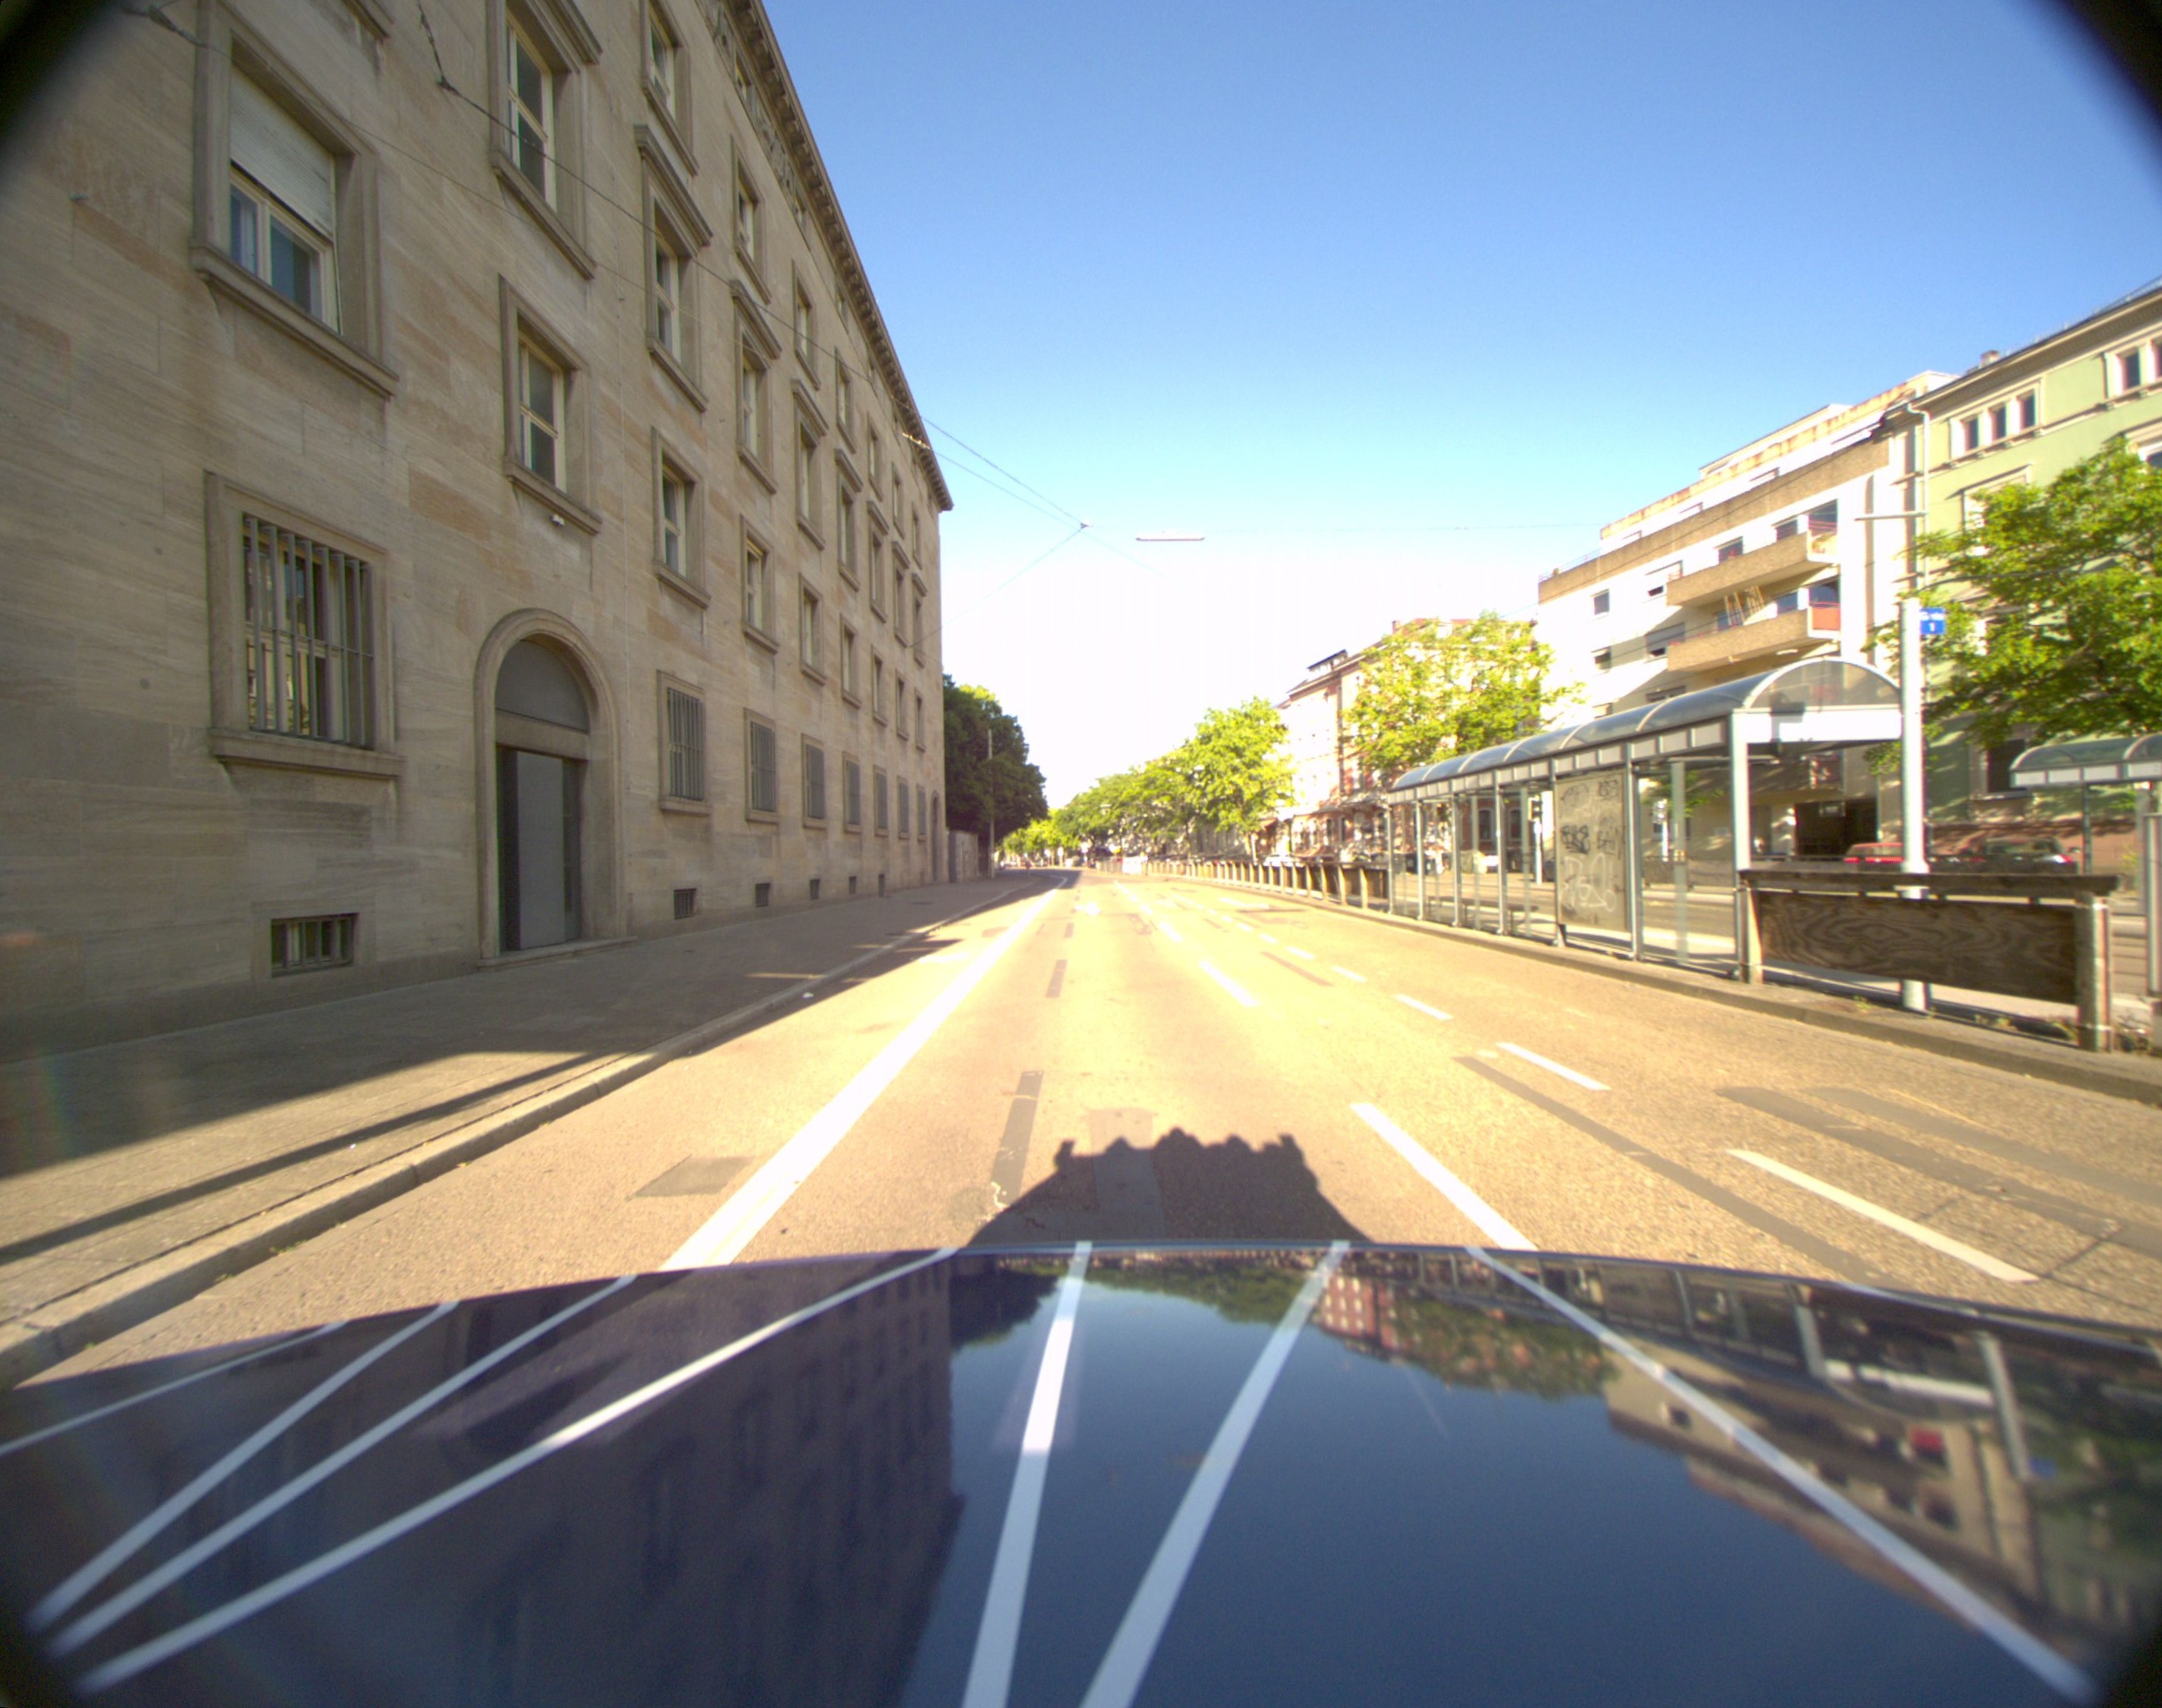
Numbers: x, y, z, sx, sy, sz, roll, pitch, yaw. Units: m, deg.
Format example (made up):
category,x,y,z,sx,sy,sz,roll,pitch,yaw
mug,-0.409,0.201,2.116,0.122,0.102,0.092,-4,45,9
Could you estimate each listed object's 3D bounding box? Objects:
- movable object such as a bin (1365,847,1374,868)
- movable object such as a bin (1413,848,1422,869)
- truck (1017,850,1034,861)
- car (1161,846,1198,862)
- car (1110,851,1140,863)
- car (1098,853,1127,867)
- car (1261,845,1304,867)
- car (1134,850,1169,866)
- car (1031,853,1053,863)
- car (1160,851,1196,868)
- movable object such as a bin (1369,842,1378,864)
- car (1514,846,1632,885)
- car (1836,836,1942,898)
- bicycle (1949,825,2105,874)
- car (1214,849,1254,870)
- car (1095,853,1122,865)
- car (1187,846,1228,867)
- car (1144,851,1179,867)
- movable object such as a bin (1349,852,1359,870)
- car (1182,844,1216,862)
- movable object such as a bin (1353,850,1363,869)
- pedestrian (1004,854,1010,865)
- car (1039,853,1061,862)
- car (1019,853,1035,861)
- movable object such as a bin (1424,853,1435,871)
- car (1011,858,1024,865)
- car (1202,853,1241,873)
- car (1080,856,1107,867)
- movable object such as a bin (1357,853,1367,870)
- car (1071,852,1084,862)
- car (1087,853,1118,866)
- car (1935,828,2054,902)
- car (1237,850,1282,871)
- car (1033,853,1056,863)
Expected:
category,x,y,z,sx,sy,sz,roll,pitch,yaw
movable object such as a bin,18.866,0.231,49.715,0.380,1.418,0.387,-1,1,0
movable object such as a bin,21.584,0.296,48.688,0.380,1.304,0.387,-1,1,-6
truck,-13.827,0.452,188.269,3.774,2.409,1.671,-4,1,-13
car,10.439,-0.048,80.380,3.829,1.477,1.766,-4,2,-41
car,6.182,0.425,106.829,4.208,1.549,1.636,-4,1,-41
car,4.551,0.923,109.443,4.208,1.714,1.780,-5,2,-44
car,16.275,0.142,61.318,1.731,1.513,3.923,-3,1,41
car,8.769,0.498,93.906,4.208,1.788,1.781,-5,2,-41
car,-8.265,0.825,160.337,4.311,1.940,1.670,-4,1,-18
car,10.777,0.632,83.972,3.877,1.645,1.768,-4,2,-41
movable object such as a bin,18.831,-0.048,48.968,0.380,1.418,0.386,-1,1,0
car,20.467,0.443,31.857,1.711,1.402,4.289,-4,1,-8
car,22.385,0.295,21.176,4.524,1.417,1.868,-4,2,-45
bicycle,29.095,-0.123,23.483,0.719,1.390,3.007,-2,0,-14
car,13.899,0.479,68.816,1.631,1.607,3.993,-3,1,43
car,4.071,0.802,112.375,1.744,1.511,3.772,-2,2,44
car,12.622,0.227,75.446,4.293,1.713,1.703,-6,3,-43
car,9.345,0.616,87.955,3.877,1.645,1.768,-4,2,-41
movable object such as a bin,17.987,0.465,50.013,0.380,1.196,0.639,-1,1,0
car,12.198,-0.113,78.159,3.286,1.524,1.703,-6,2,-43
movable object such as a bin,17.993,0.342,49.331,0.380,1.234,0.639,-1,1,0
pedestrian,-12.409,0.948,127.519,0.872,1.710,0.804,-1,0,-3
car,-6.357,0.796,155.061,4.105,1.561,1.670,-4,1,-18
car,-13.587,0.736,191.426,3.775,1.584,1.670,-4,1,-18
movable object such as a bin,21.249,0.486,46.385,0.380,1.090,0.552,-1,2,-6
car,-14.017,1.677,167.367,1.878,1.591,4.421,-1,0,-16
car,13.244,0.879,71.594,1.630,1.607,3.993,-3,1,43
car,1.909,1.098,118.133,4.007,1.477,1.777,-4,2,-44
movable object such as a bin,18.001,0.468,48.650,0.380,1.062,0.639,-1,1,0
car,-0.678,0.579,139.391,1.673,1.886,3.211,-1,0,-12
car,3.228,0.785,114.474,4.366,1.704,1.944,-4,2,-35
car,23.693,0.207,19.839,4.524,1.632,1.586,-4,2,-45
car,15.108,0.519,64.180,3.929,1.499,1.685,-5,1,-44
car,-7.547,0.844,158.065,4.311,1.940,1.670,-4,1,-18
